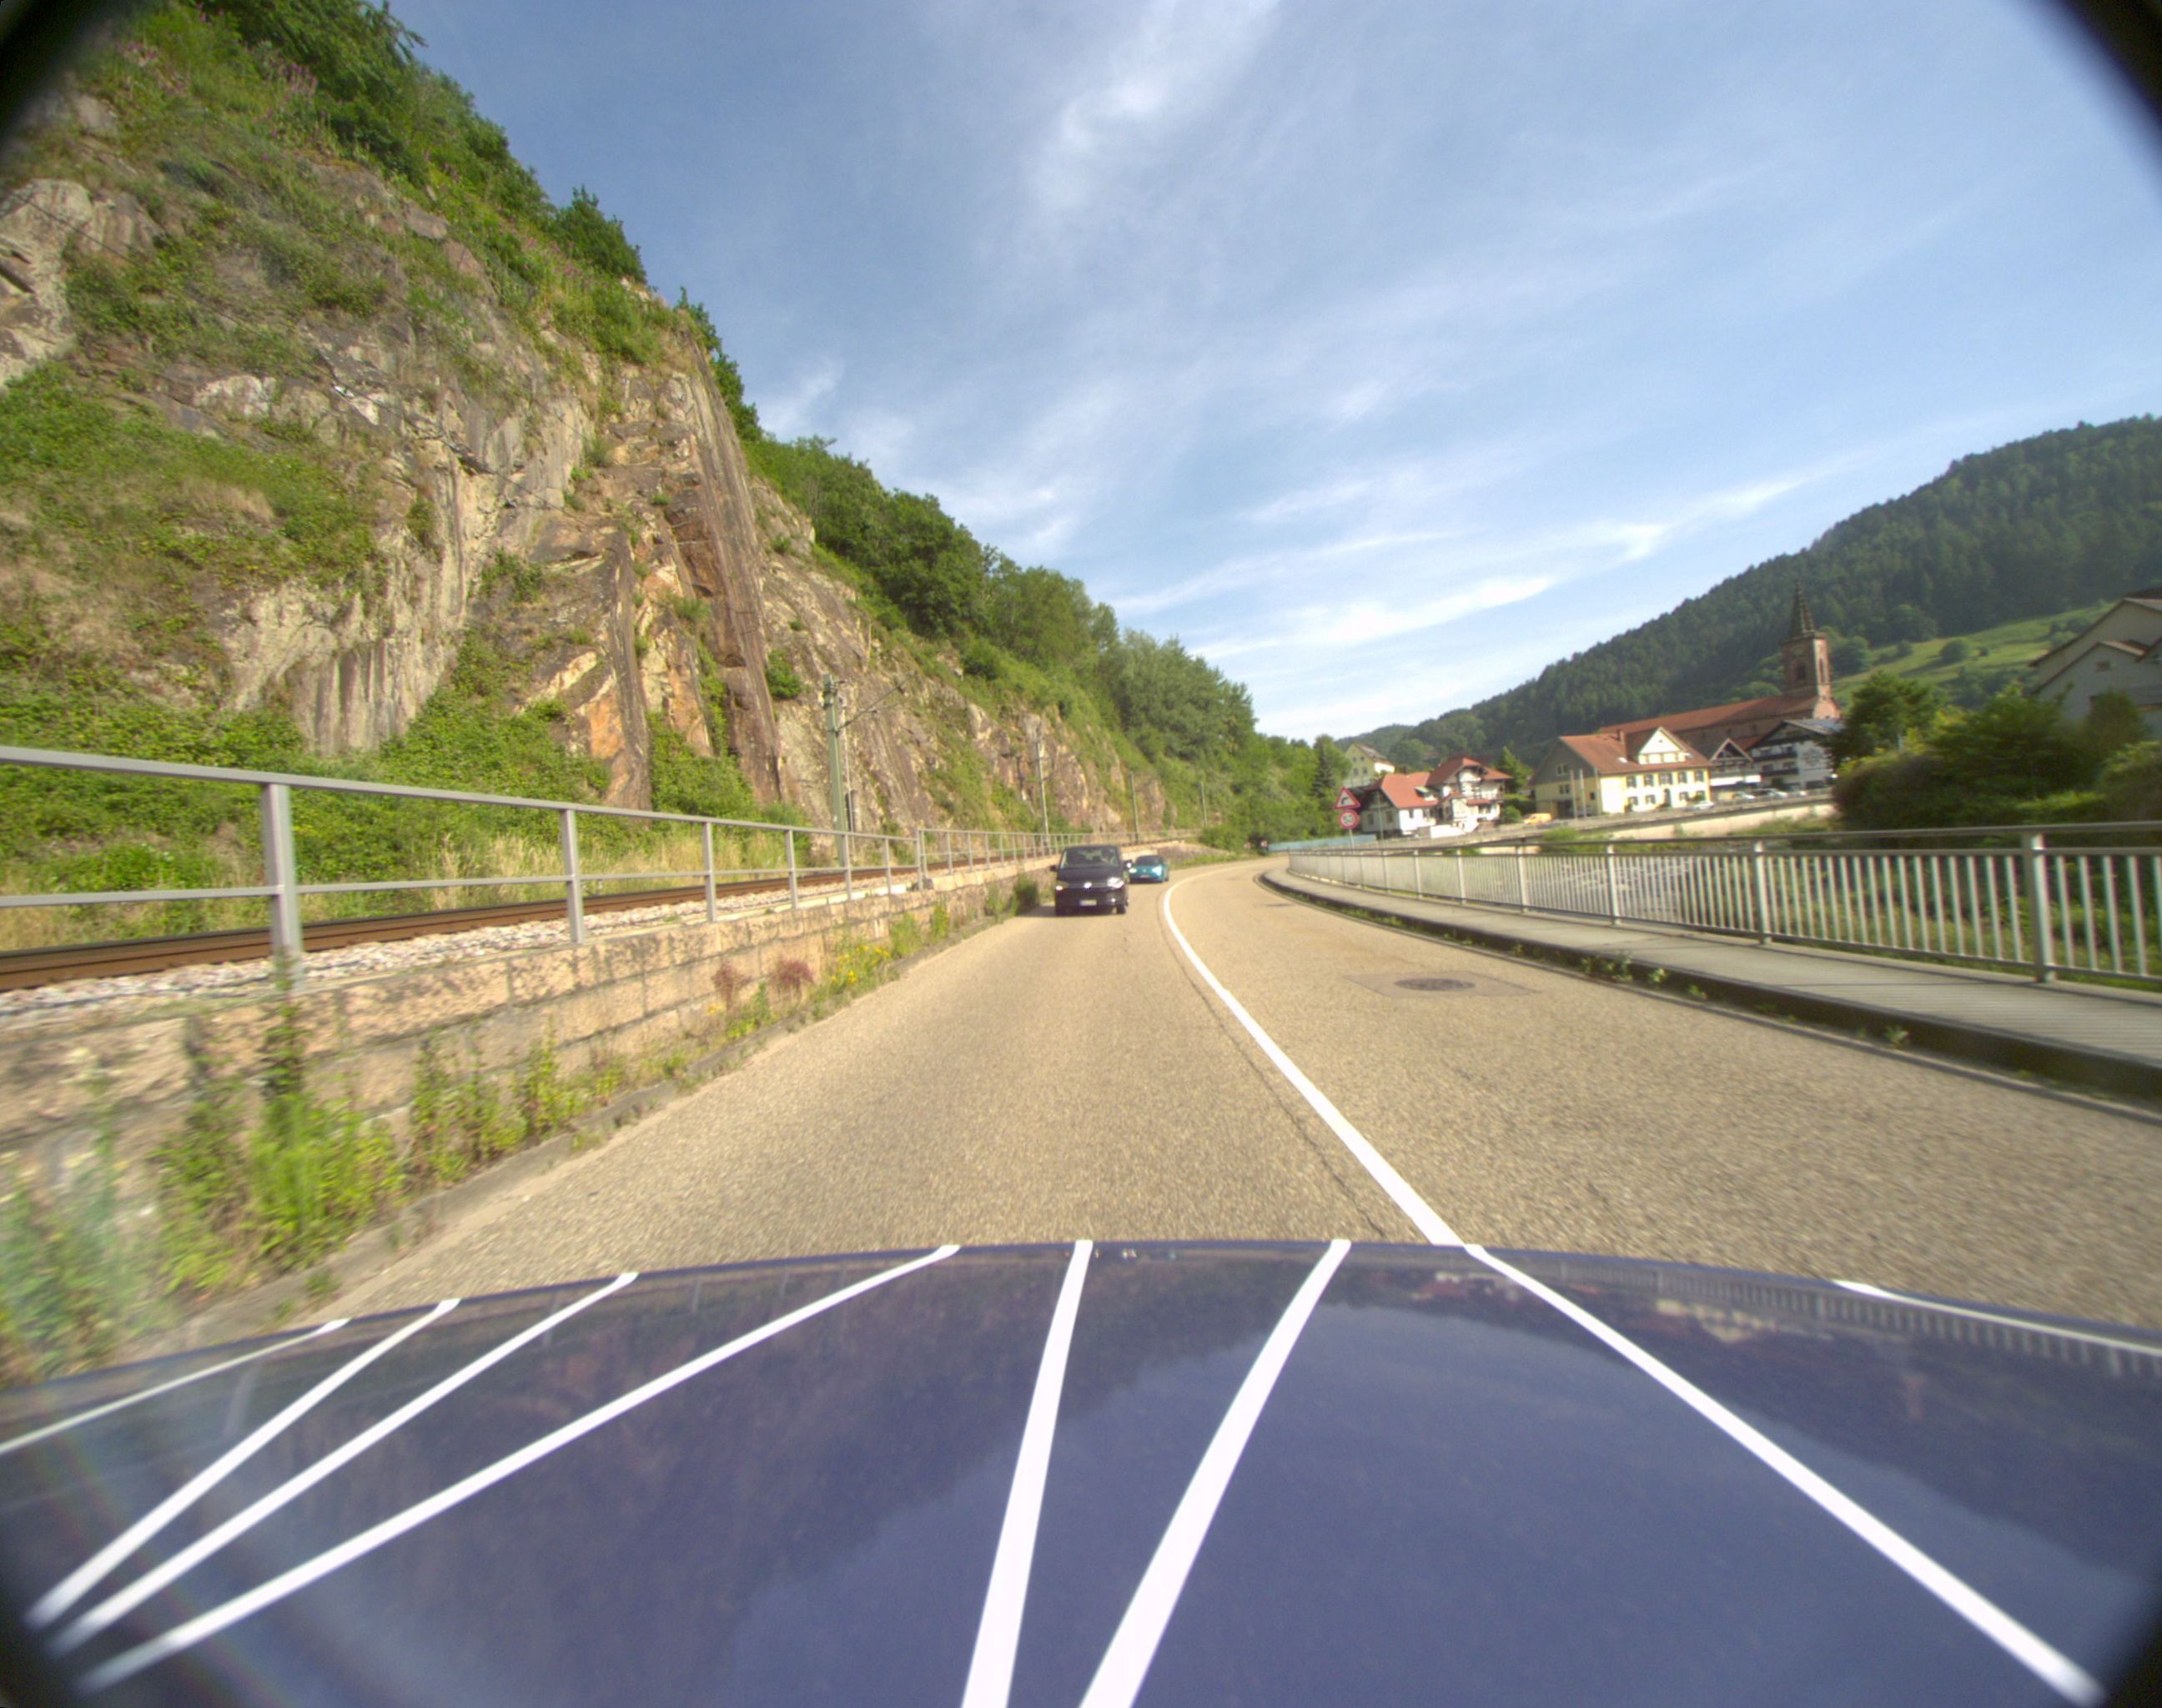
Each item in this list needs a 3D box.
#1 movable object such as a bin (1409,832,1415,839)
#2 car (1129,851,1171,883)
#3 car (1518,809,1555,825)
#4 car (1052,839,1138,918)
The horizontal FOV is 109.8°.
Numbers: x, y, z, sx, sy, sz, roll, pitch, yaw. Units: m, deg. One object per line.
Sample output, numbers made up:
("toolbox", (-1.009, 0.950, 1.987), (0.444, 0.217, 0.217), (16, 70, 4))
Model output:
("movable object such as a bin", (45.594, -2.571, 104.572), (0.548, 0.894, 0.368), (-6, 0, -27))
("car", (3.812, 0.687, 41.611), (1.681, 1.513, 3.869), (-4, 0, 13))
("car", (67.297, -5.453, 112.257), (4.837, 1.986, 1.912), (-4, 0, -16))
("car", (0.532, 0.628, 22.044), (1.886, 1.952, 4.868), (-4, 0, 7))
